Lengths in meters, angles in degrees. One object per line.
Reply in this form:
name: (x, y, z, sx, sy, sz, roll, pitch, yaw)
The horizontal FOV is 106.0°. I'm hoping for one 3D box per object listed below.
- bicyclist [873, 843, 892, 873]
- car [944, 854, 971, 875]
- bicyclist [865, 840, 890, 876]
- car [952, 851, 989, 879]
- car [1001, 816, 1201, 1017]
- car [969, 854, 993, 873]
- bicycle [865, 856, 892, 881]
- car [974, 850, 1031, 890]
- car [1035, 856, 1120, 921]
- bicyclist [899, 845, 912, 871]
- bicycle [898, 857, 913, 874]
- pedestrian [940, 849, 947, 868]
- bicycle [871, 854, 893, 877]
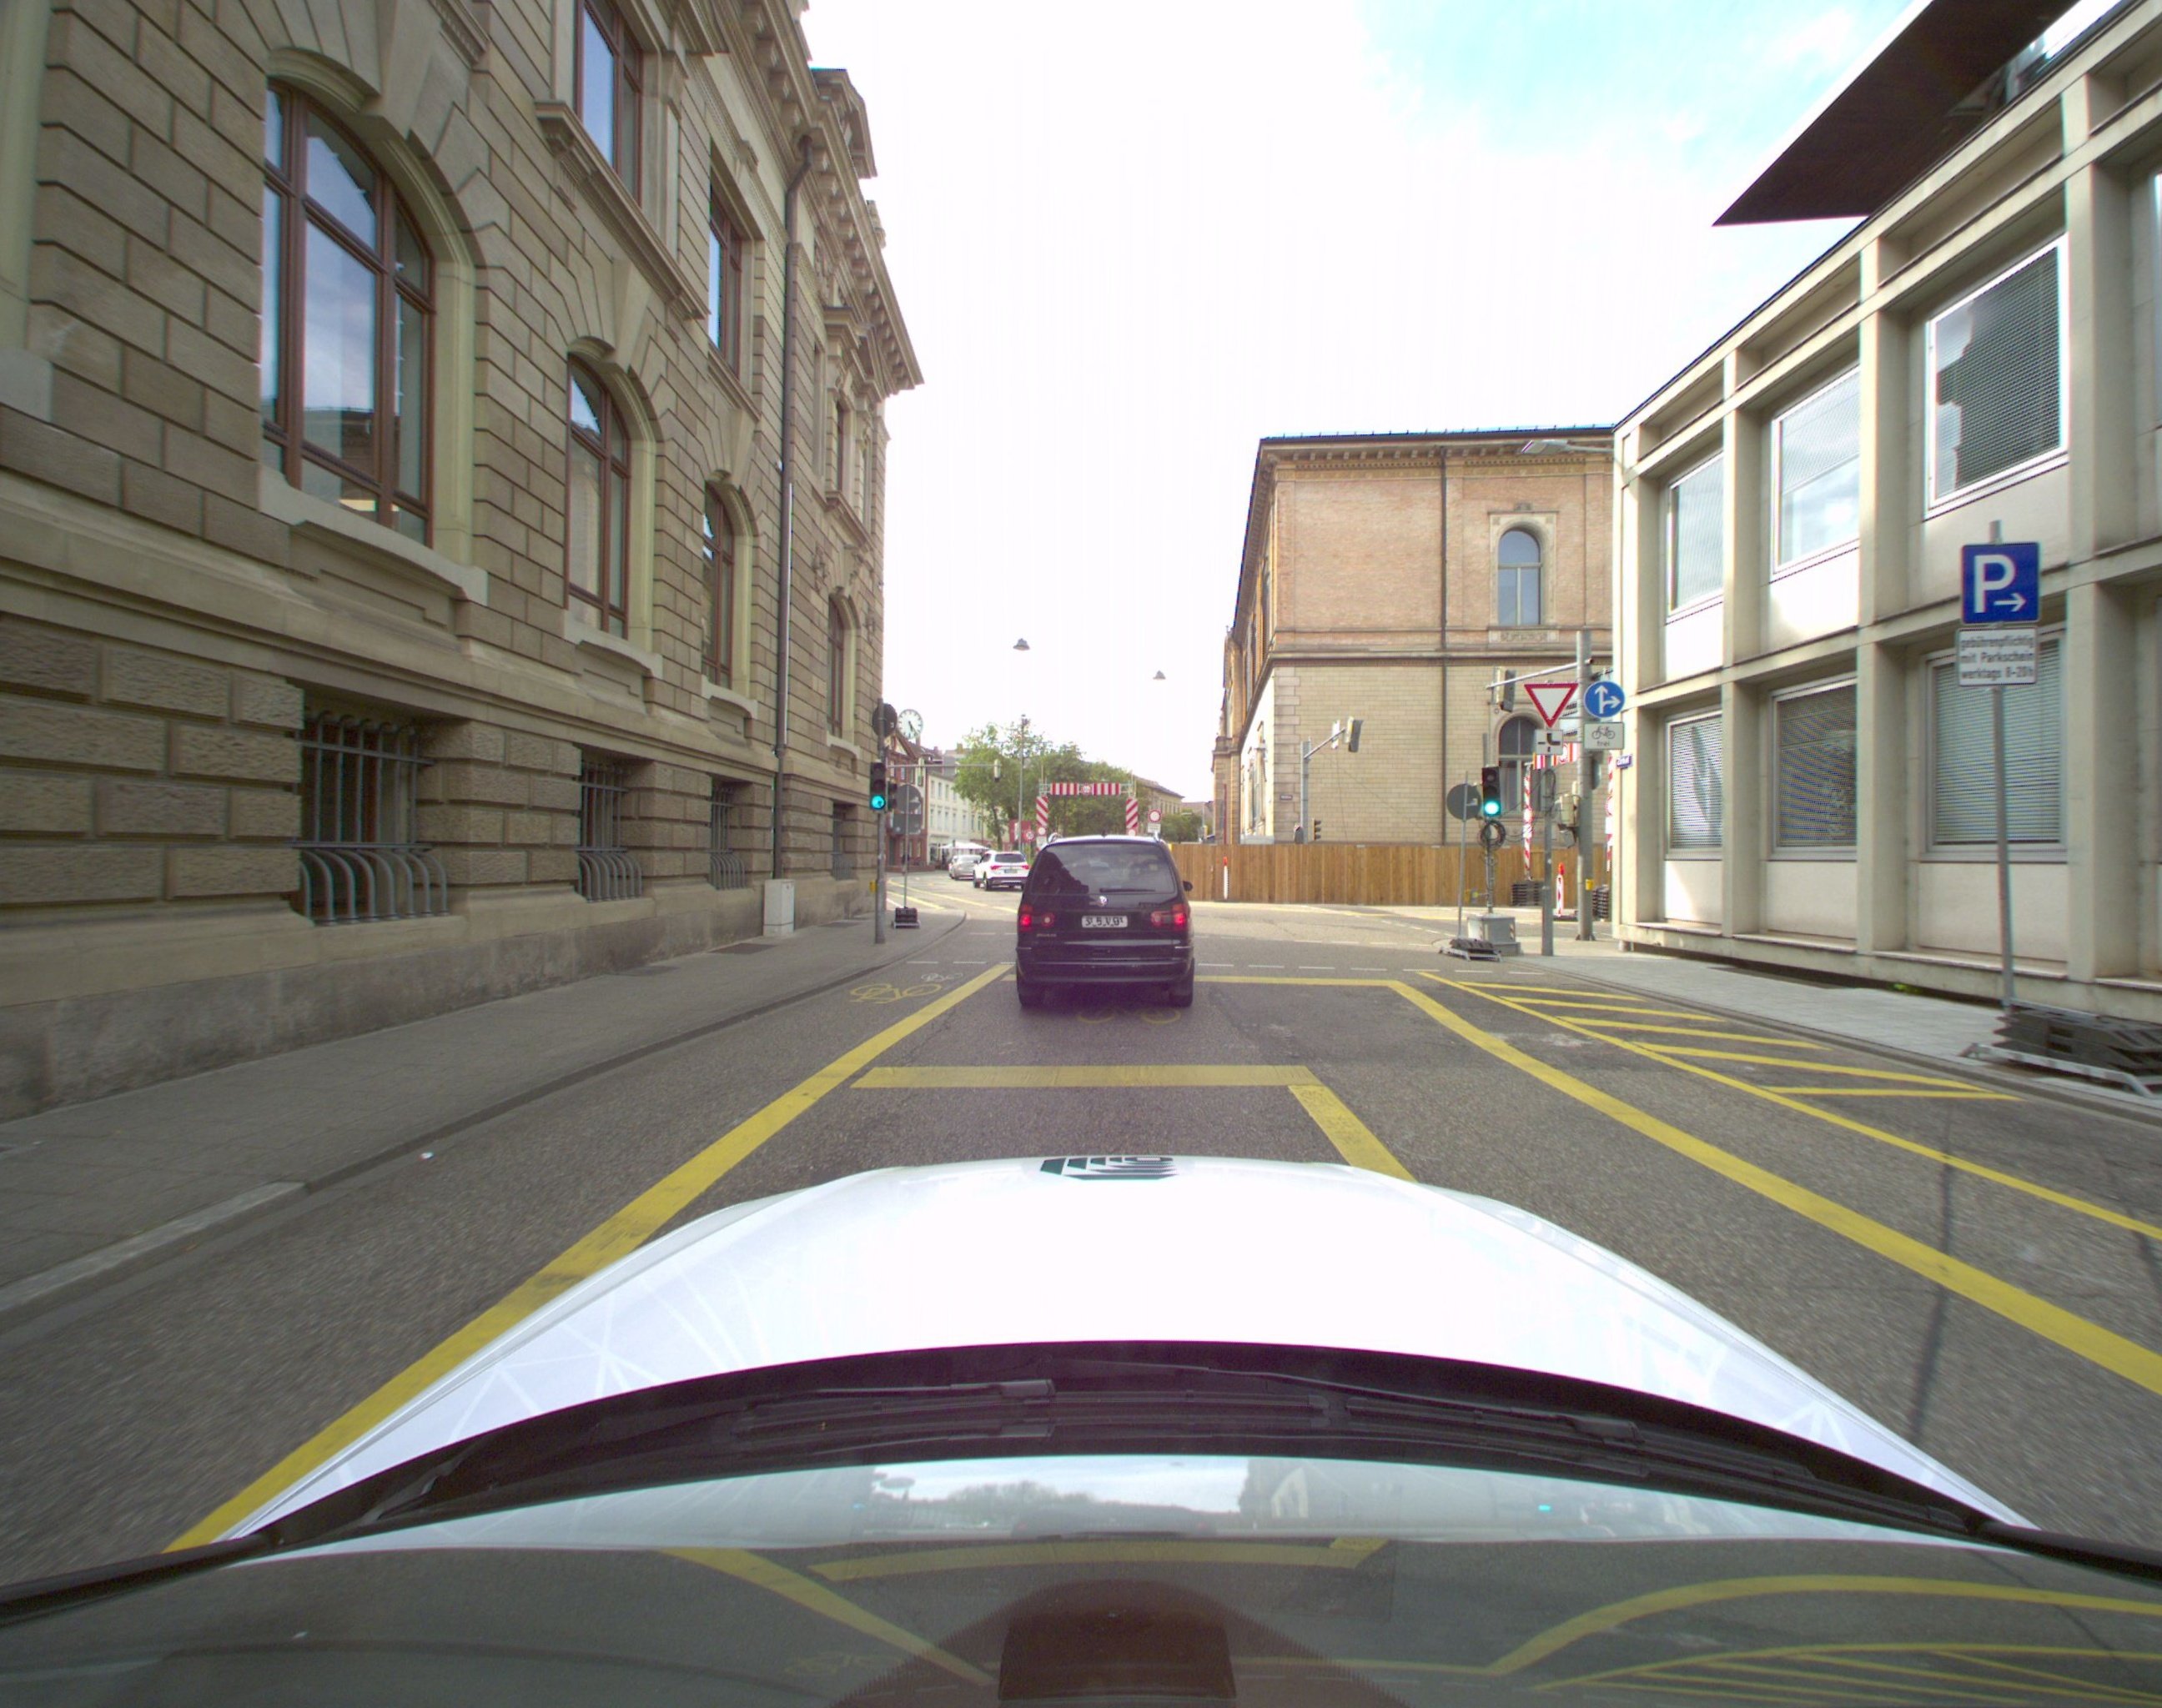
bicyclist: (-11.079, 0.225, 45.395, 0.925, 1.609, 1.060, 0, -1, -8)
car: (-8.286, 0.705, 54.629, 1.650, 1.321, 3.661, 0, -1, -11)
bicyclist: (-10.474, 0.216, 42.019, 1.090, 1.824, 1.361, 0, -1, -8)
car: (-6.275, 0.611, 45.987, 1.705, 1.501, 3.982, 0, -1, -13)
car: (0.266, 0.577, 9.388, 1.782, 1.790, 4.105, 0, -1, 2)
car: (-8.549, 0.797, 69.733, 1.769, 1.586, 3.995, 0, -1, -4)
bicycle: (-10.494, 0.739, 42.279, 1.055, 1.255, 3.032, 0, -1, -8)
car: (-3.372, 0.664, 34.529, 1.776, 1.586, 3.979, 0, -1, -15)
car: (-0.190, 0.815, 20.780, 1.677, 1.469, 4.092, 1, -1, -7)
bicyclist: (-13.128, 0.295, 60.926, 0.925, 1.963, 1.102, 0, -1, -8)
bicycle: (-13.129, 0.863, 60.931, 0.925, 1.255, 2.534, 0, -1, -8)
pedestrian: (-14.327, 0.473, 84.750, 0.583, 2.014, 0.687, 0, -1, 3)
bicycle: (-11.089, 0.636, 45.388, 0.925, 1.255, 2.534, 0, -1, -8)
